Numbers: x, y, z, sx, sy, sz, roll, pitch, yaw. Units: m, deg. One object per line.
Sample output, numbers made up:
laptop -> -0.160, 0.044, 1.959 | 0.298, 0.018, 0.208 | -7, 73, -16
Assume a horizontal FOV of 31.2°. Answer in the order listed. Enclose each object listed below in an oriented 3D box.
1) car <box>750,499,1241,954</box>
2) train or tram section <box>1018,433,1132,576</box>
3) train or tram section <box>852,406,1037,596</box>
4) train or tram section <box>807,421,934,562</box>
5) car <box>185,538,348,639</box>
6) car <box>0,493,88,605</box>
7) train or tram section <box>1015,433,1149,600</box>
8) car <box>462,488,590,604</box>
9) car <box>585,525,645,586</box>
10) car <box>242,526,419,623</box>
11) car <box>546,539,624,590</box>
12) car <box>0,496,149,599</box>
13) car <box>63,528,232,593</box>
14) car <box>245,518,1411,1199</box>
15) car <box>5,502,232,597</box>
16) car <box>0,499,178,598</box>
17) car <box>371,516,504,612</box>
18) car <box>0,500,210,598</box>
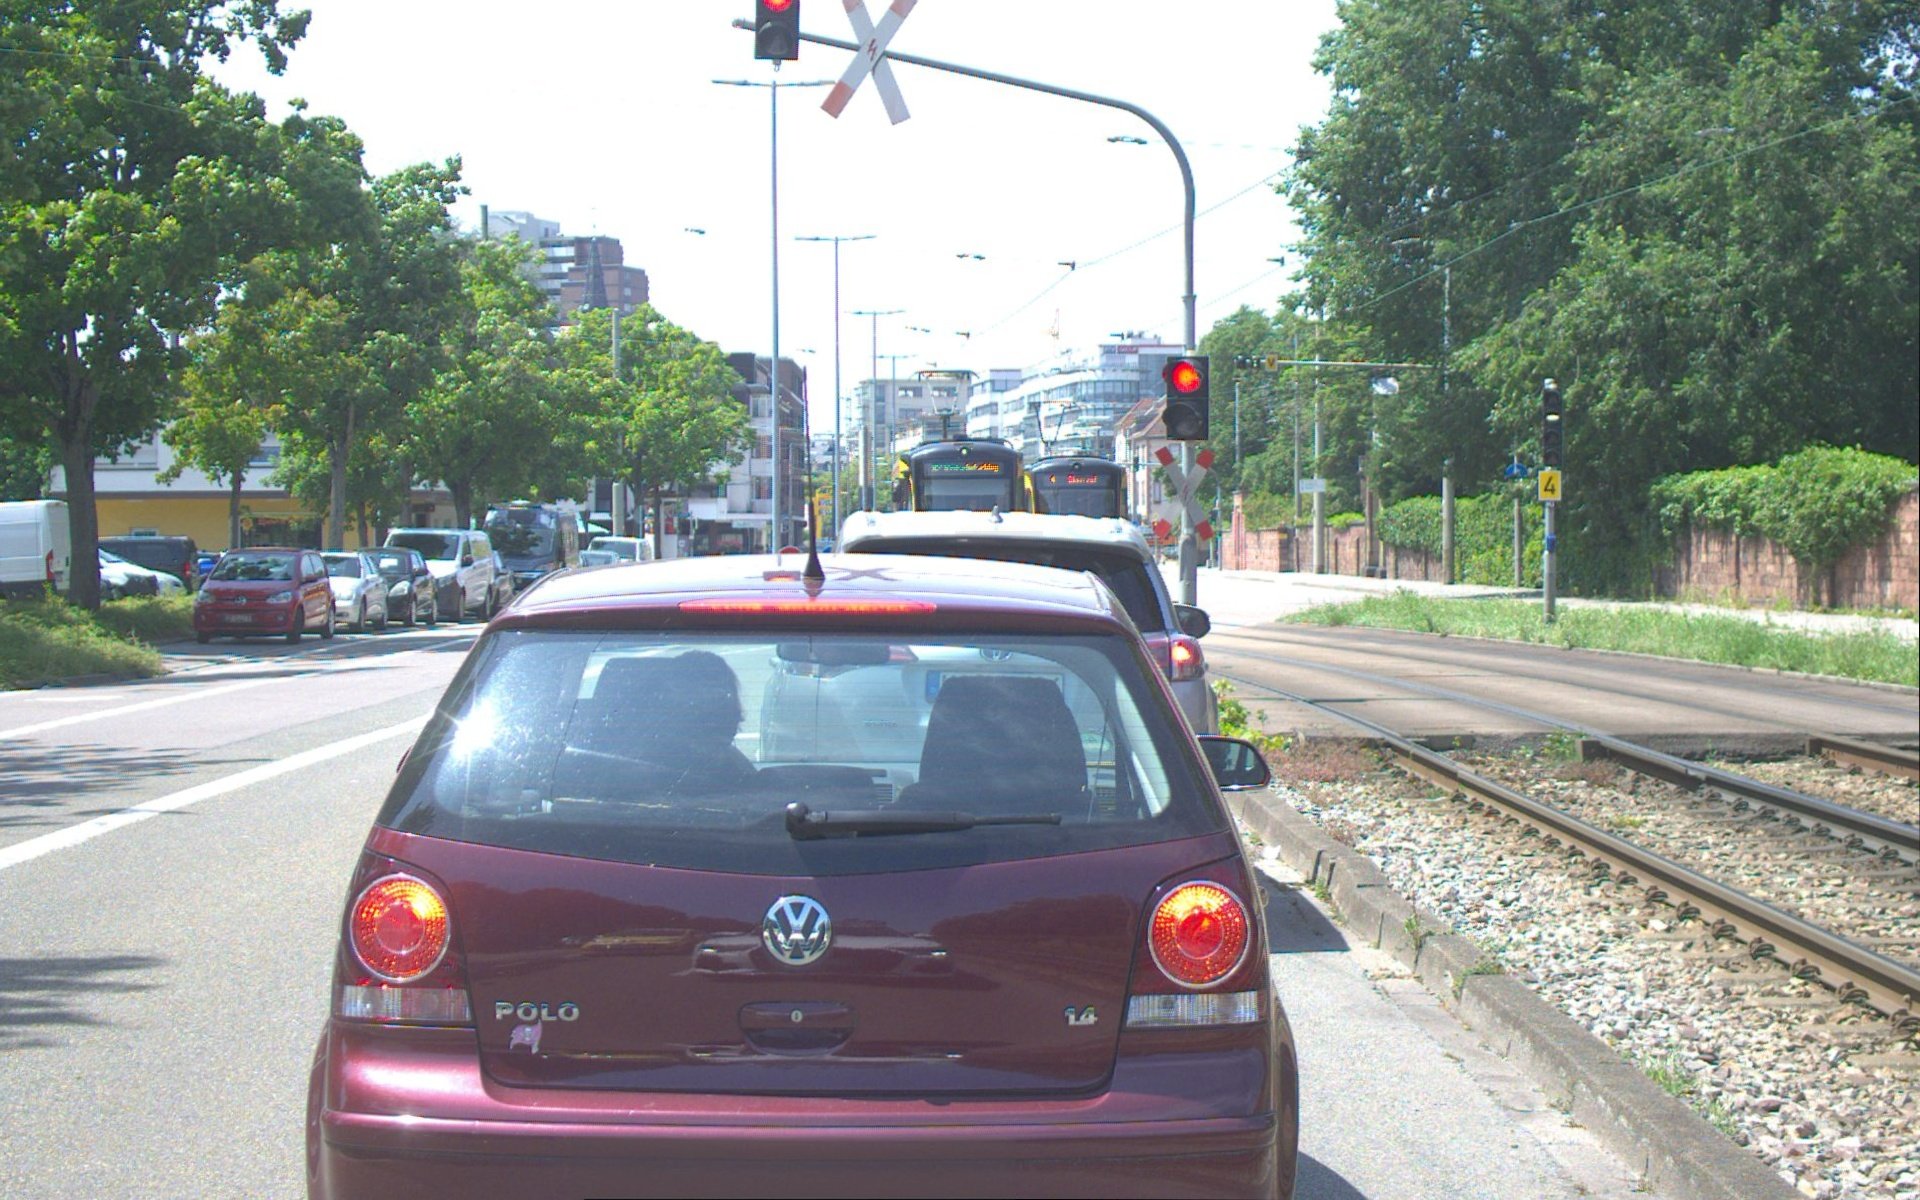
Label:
car -> 0.085, 0.426, 14.700 | 1.777, 1.641, 4.000 | 1, 1, -1
train or tram section -> 3.217, -2.679, 98.323 | 3.028, 3.785, 13.090 | -1, 1, 1
train or tram section -> -0.501, -2.070, 72.843 | 2.740, 3.597, 12.872 | 2, 1, -5
train or tram section -> -2.592, -2.967, 95.326 | 2.740, 3.597, 10.952 | 2, 1, -5
car -> -10.936, -0.186, 54.460 | 1.663, 1.491, 4.000 | 2, 0, 1
car -> -20.899, -1.101, 71.006 | 5.097, 2.237, 2.378 | 2, 0, 1
train or tram section -> 2.936, -2.056, 85.335 | 3.028, 3.785, 13.090 | -1, 1, 1
car -> -10.592, -1.293, 84.282 | 2.361, 2.683, 5.307 | 2, 0, 0
car -> -10.800, -1.372, 107.567 | 1.774, 1.822, 4.001 | 2, 0, -6
car -> -11.112, -0.439, 61.007 | 1.976, 1.595, 4.557 | 2, 0, 4
car -> -11.020, -1.027, 101.311 | 1.614, 1.436, 4.000 | 2, 0, 3
car -> -21.544, -1.229, 79.133 | 5.097, 2.237, 2.378 | 2, 0, 1
car -> -21.683, -1.050, 91.798 | 4.020, 1.611, 1.816 | 2, 0, 1
car -> -0.241, 0.615, 7.005 | 1.672, 1.516, 4.000 | 1, 1, -1
car -> -21.385, -1.277, 87.513 | 5.097, 2.237, 2.378 | 2, 0, 1
car -> -21.589, -1.250, 82.306 | 5.097, 2.237, 2.378 | 2, 0, 1
car -> -10.783, -0.731, 71.244 | 1.783, 1.875, 4.785 | 2, 0, 2
car -> -21.337, -1.258, 84.793 | 5.097, 2.237, 2.378 | 2, 0, 1
